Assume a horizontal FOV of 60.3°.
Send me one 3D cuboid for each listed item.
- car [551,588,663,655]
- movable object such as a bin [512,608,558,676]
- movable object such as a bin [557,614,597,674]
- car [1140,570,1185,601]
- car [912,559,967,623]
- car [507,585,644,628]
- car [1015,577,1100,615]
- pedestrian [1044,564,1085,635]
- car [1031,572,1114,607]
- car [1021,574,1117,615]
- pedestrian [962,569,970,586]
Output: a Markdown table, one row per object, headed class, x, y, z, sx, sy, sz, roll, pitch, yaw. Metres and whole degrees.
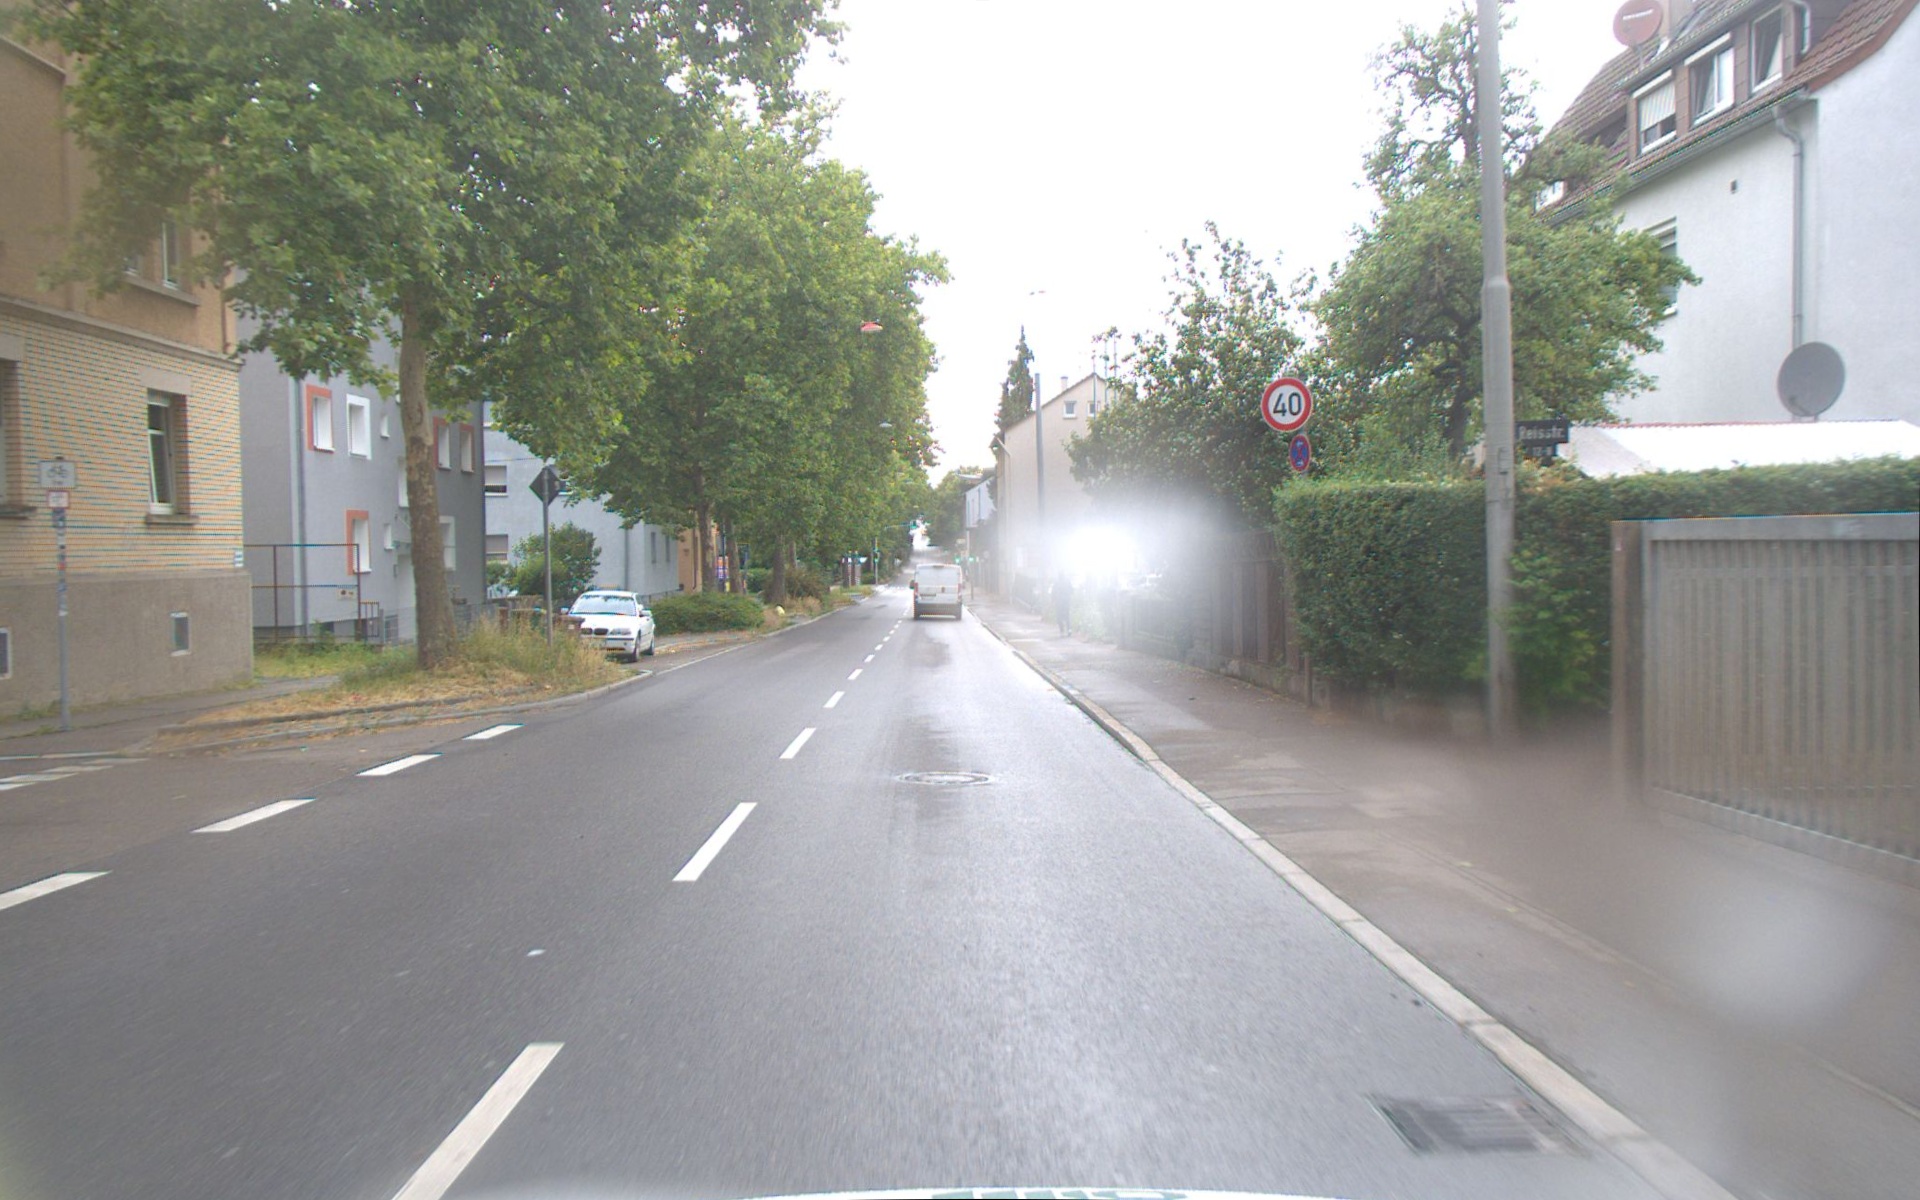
| class | x | y | z | sx | sy | sz | roll | pitch | yaw |
| --- | --- | --- | --- | --- | --- | --- | --- | --- | --- |
| car | -7.477 | 0.408 | 35.437 | 1.721 | 1.349 | 4.535 | 0 | 0 | -4 |
| movable object such as a bin | -6.927 | 0.674 | 26.975 | 0.523 | 1.076 | 0.762 | -2 | 0 | -1 |
| movable object such as a bin | -6.269 | 0.714 | 27.075 | 0.501 | 0.944 | 0.581 | -2 | 0 | -1 |
| car | 10.383 | -0.718 | 85.172 | 1.771 | 1.557 | 3.626 | 1 | 0 | -2 |
| car | -0.864 | -0.347 | 69.374 | 2.236 | 2.597 | 3.999 | 0 | 0 | -1 |
| car | -13.992 | 0.241 | 60.402 | 4.568 | 1.502 | 1.869 | 1 | 0 | -1 |
| car | 4.761 | -0.203 | 80.983 | 3.984 | 1.766 | 1.869 | 1 | 0 | -1 |
| pedestrian | 2.857 | -0.017 | 45.427 | 1.022 | 1.930 | 0.900 | -1 | 0 | -1 |
| car | 5.819 | -0.527 | 86.132 | 4.142 | 1.766 | 1.869 | 1 | 0 | -1 |
| car | 4.966 | -0.251 | 75.684 | 4.215 | 1.799 | 1.999 | 0 | 0 | -1 |
| pedestrian | 0.591 | -2.335 | 172.763 | 0.728 | 1.734 | 0.900 | 1 | 0 | -7 |
